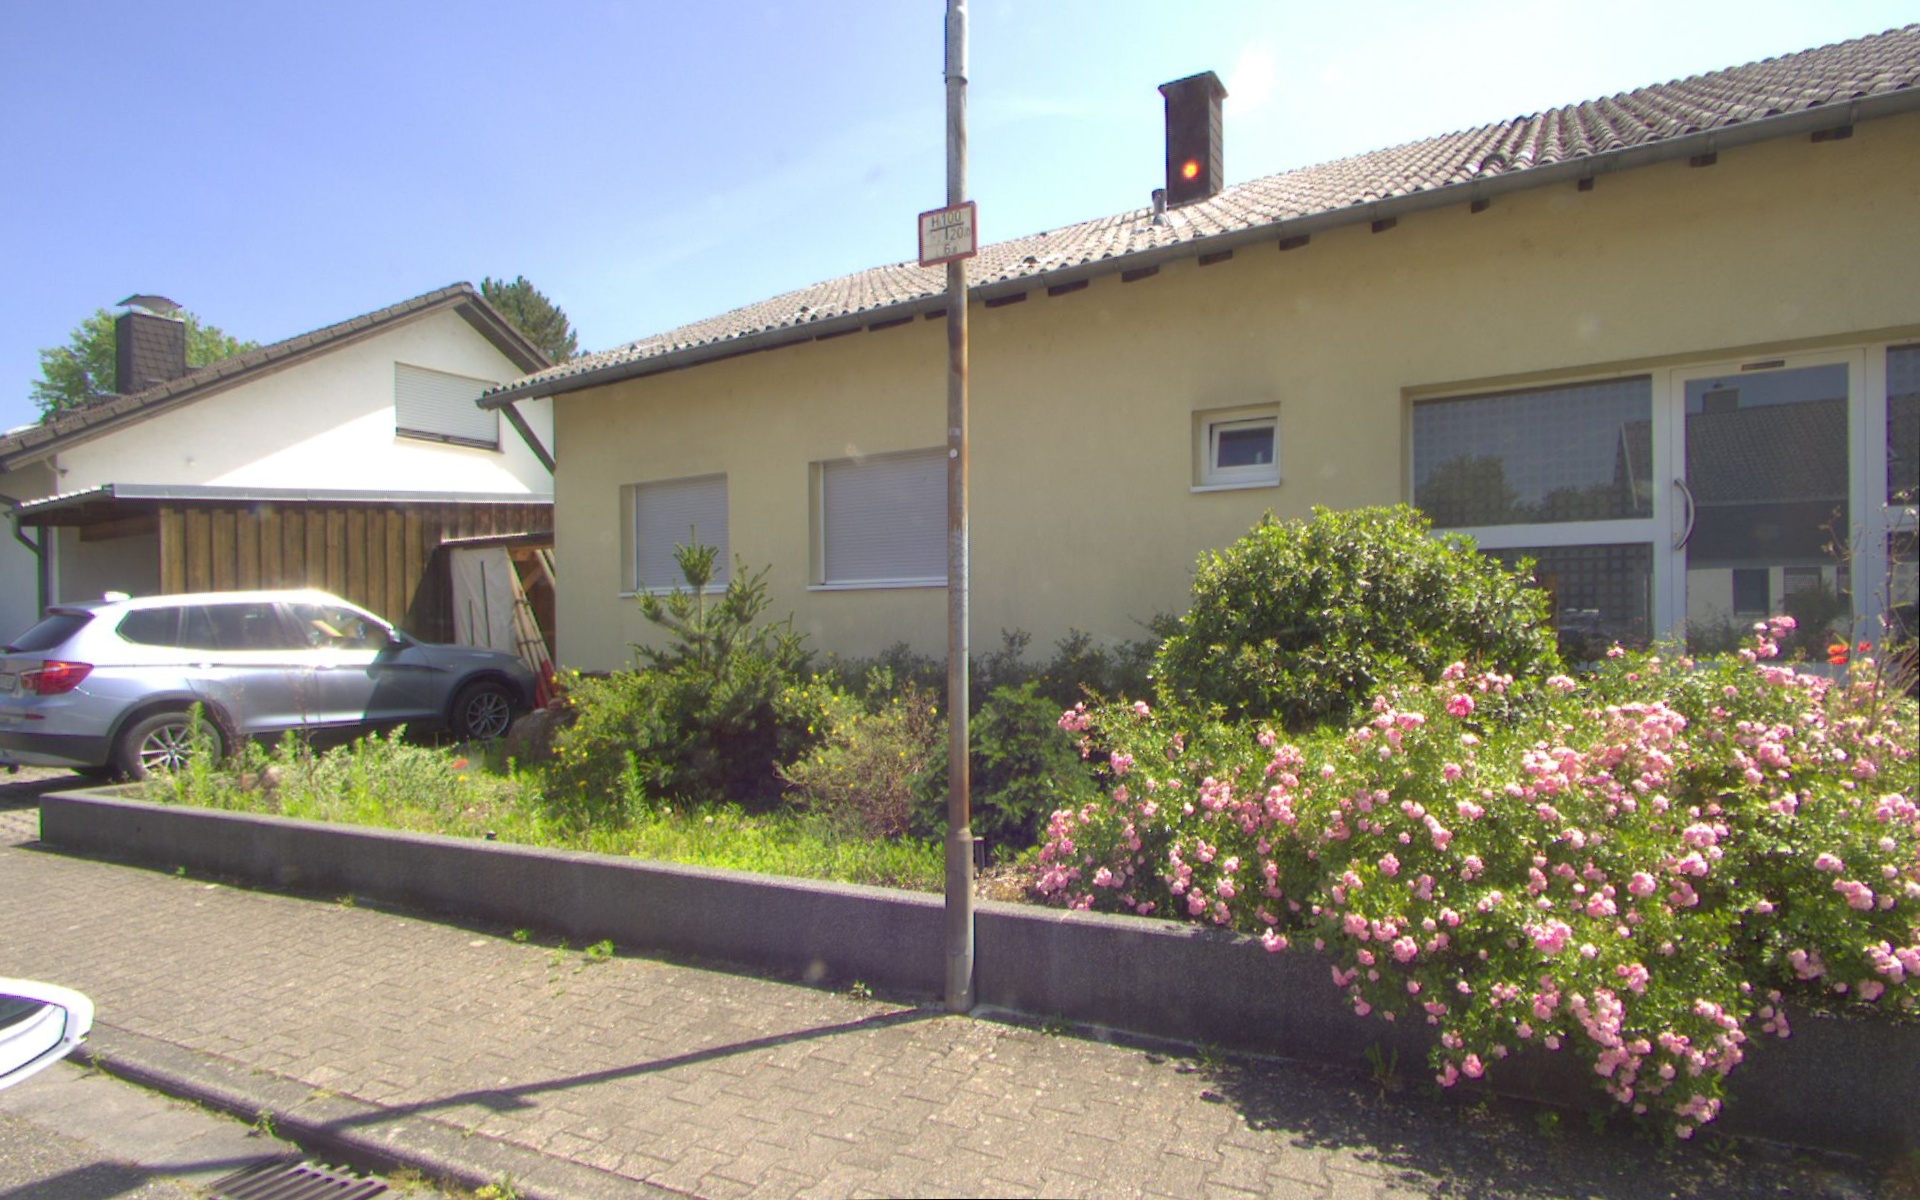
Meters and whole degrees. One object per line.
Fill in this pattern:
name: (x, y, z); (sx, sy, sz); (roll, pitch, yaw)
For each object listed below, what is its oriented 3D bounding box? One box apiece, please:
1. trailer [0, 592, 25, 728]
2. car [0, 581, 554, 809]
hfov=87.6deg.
trailer: (-13.628, 0.762, 12.851); (3.249, 1.695, 1.583); (0, 1, 32)
car: (-6.615, 0.694, 9.944); (1.686, 1.725, 4.613); (-1, 1, 34)
